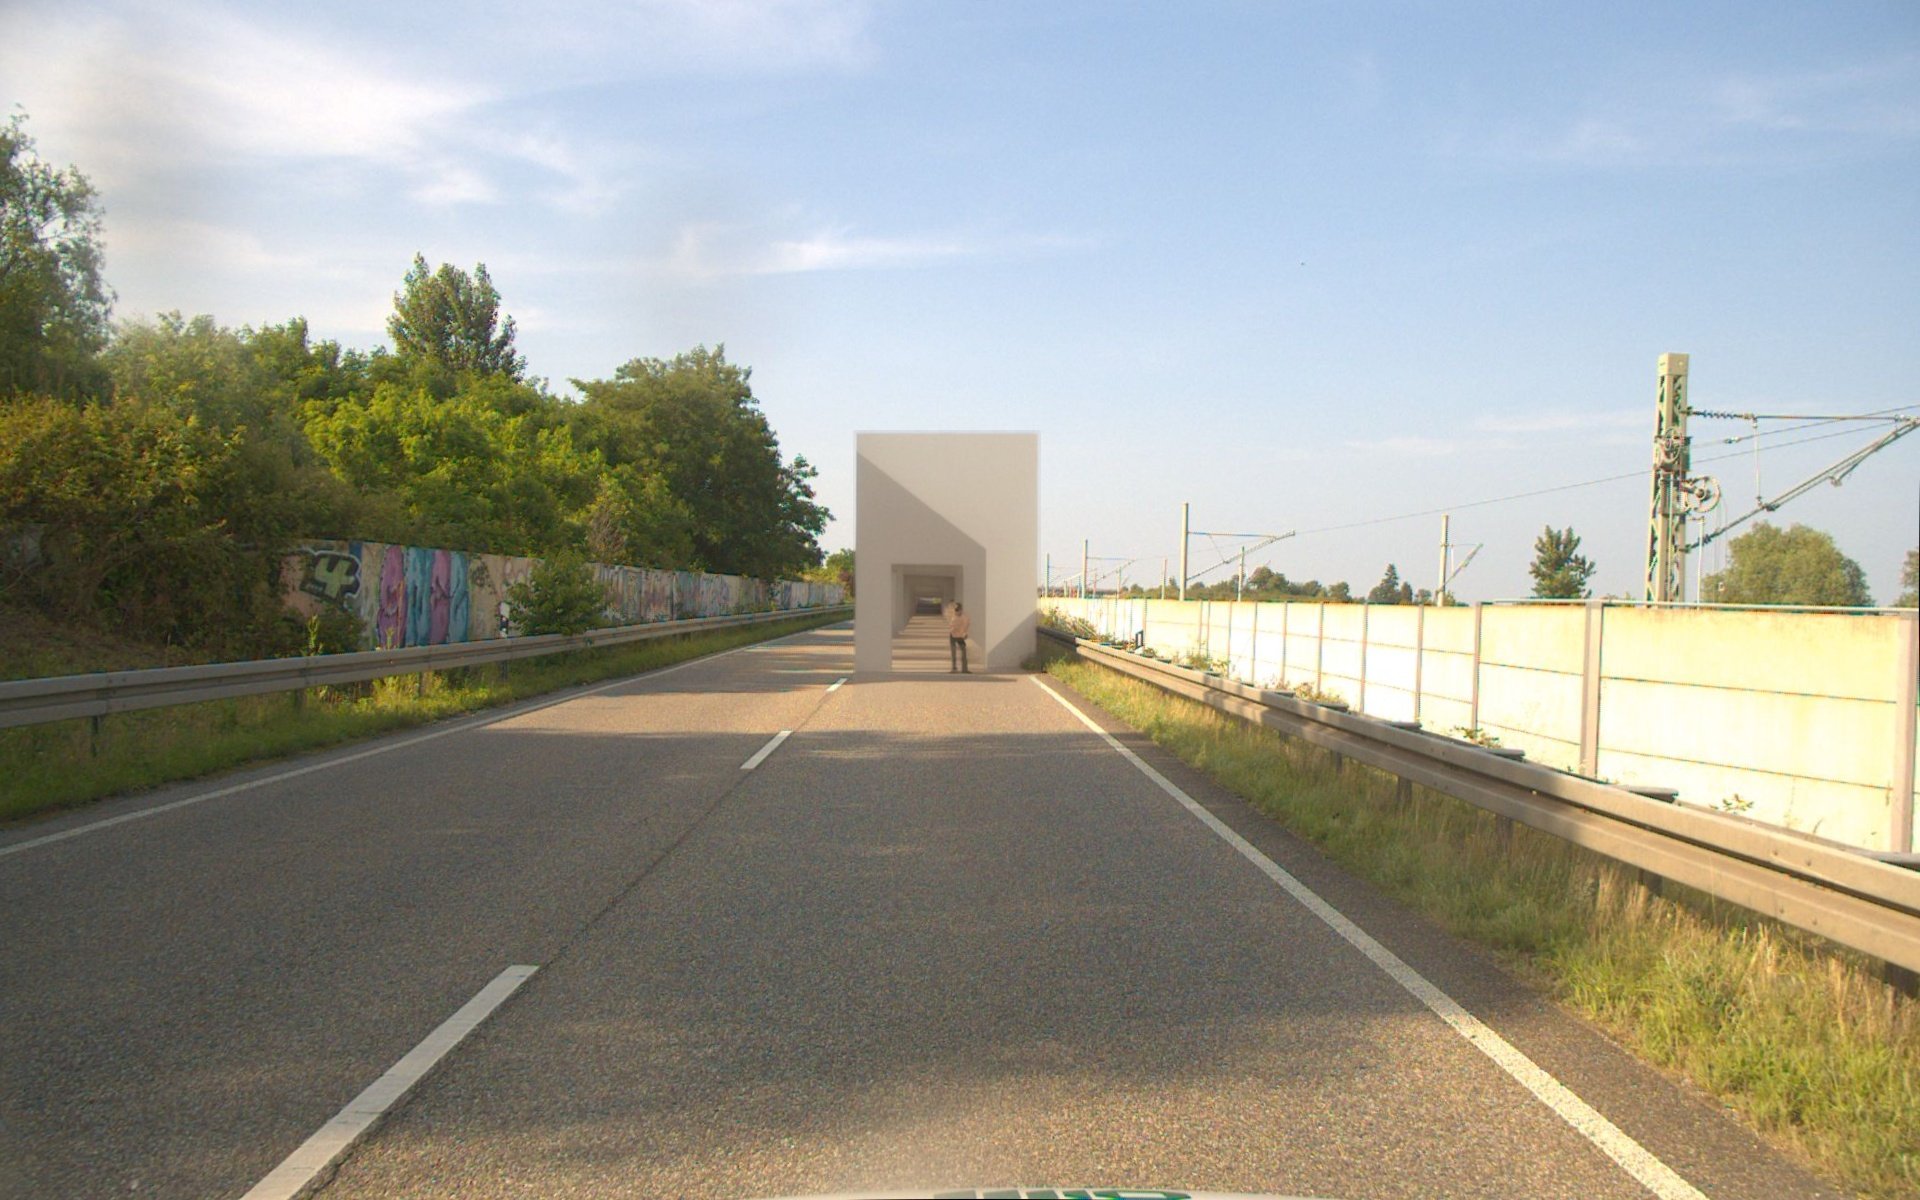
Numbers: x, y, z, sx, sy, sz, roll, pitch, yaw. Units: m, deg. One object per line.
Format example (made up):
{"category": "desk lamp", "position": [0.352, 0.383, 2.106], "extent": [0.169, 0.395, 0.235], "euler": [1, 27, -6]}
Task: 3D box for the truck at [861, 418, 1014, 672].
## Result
{"category": "truck", "position": [-0.582, -1.112, 38.734], "extent": [2.971, 5.006, 11.681], "euler": [1, 0, -1]}
